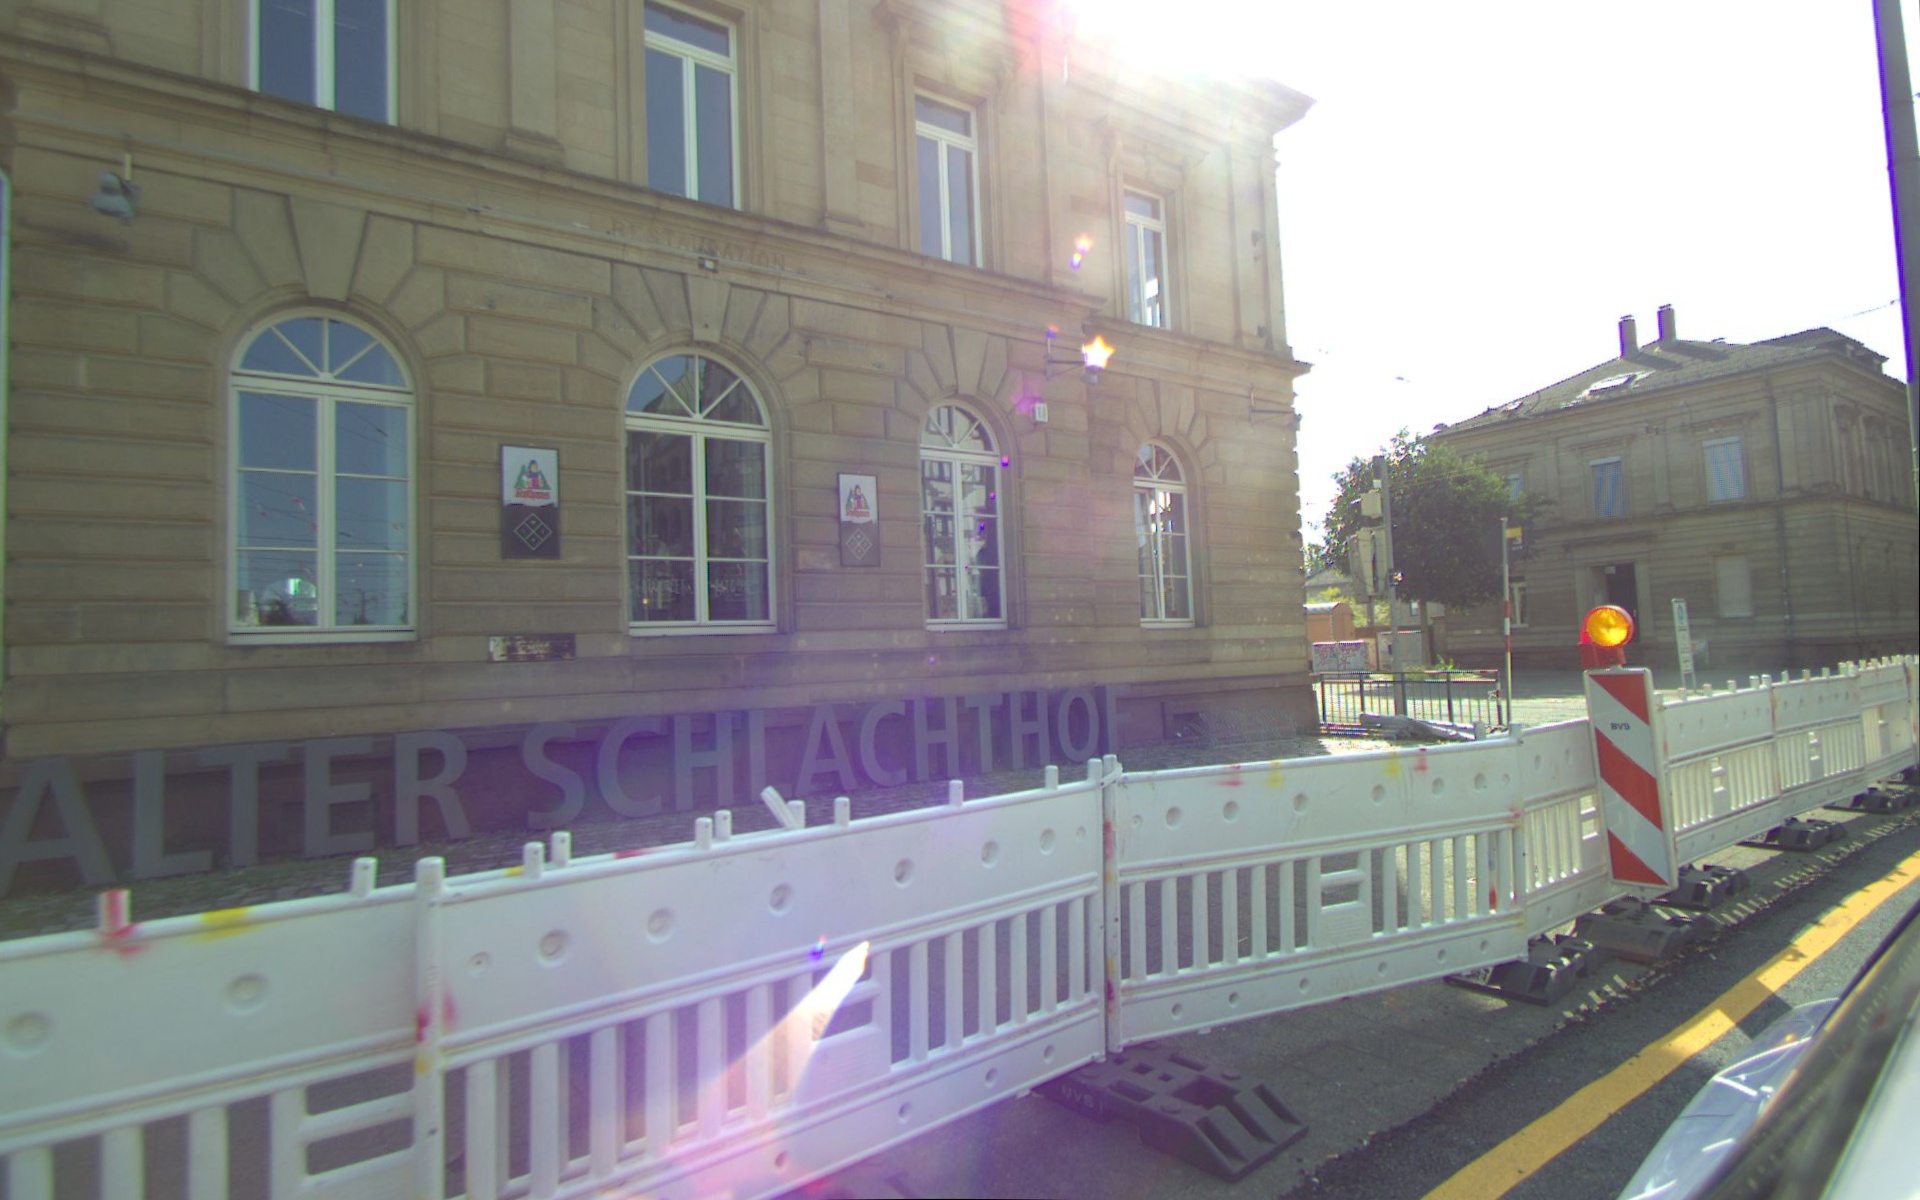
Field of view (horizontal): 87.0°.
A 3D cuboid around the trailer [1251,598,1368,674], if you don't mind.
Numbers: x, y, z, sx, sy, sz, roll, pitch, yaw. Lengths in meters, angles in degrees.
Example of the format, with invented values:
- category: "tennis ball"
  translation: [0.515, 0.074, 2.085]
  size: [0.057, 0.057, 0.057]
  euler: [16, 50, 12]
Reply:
- category: "trailer"
  translation: [15.272, 1.596, 44.353]
  size: [2.515, 3.108, 3.989]
  euler: [-1, -3, -43]
